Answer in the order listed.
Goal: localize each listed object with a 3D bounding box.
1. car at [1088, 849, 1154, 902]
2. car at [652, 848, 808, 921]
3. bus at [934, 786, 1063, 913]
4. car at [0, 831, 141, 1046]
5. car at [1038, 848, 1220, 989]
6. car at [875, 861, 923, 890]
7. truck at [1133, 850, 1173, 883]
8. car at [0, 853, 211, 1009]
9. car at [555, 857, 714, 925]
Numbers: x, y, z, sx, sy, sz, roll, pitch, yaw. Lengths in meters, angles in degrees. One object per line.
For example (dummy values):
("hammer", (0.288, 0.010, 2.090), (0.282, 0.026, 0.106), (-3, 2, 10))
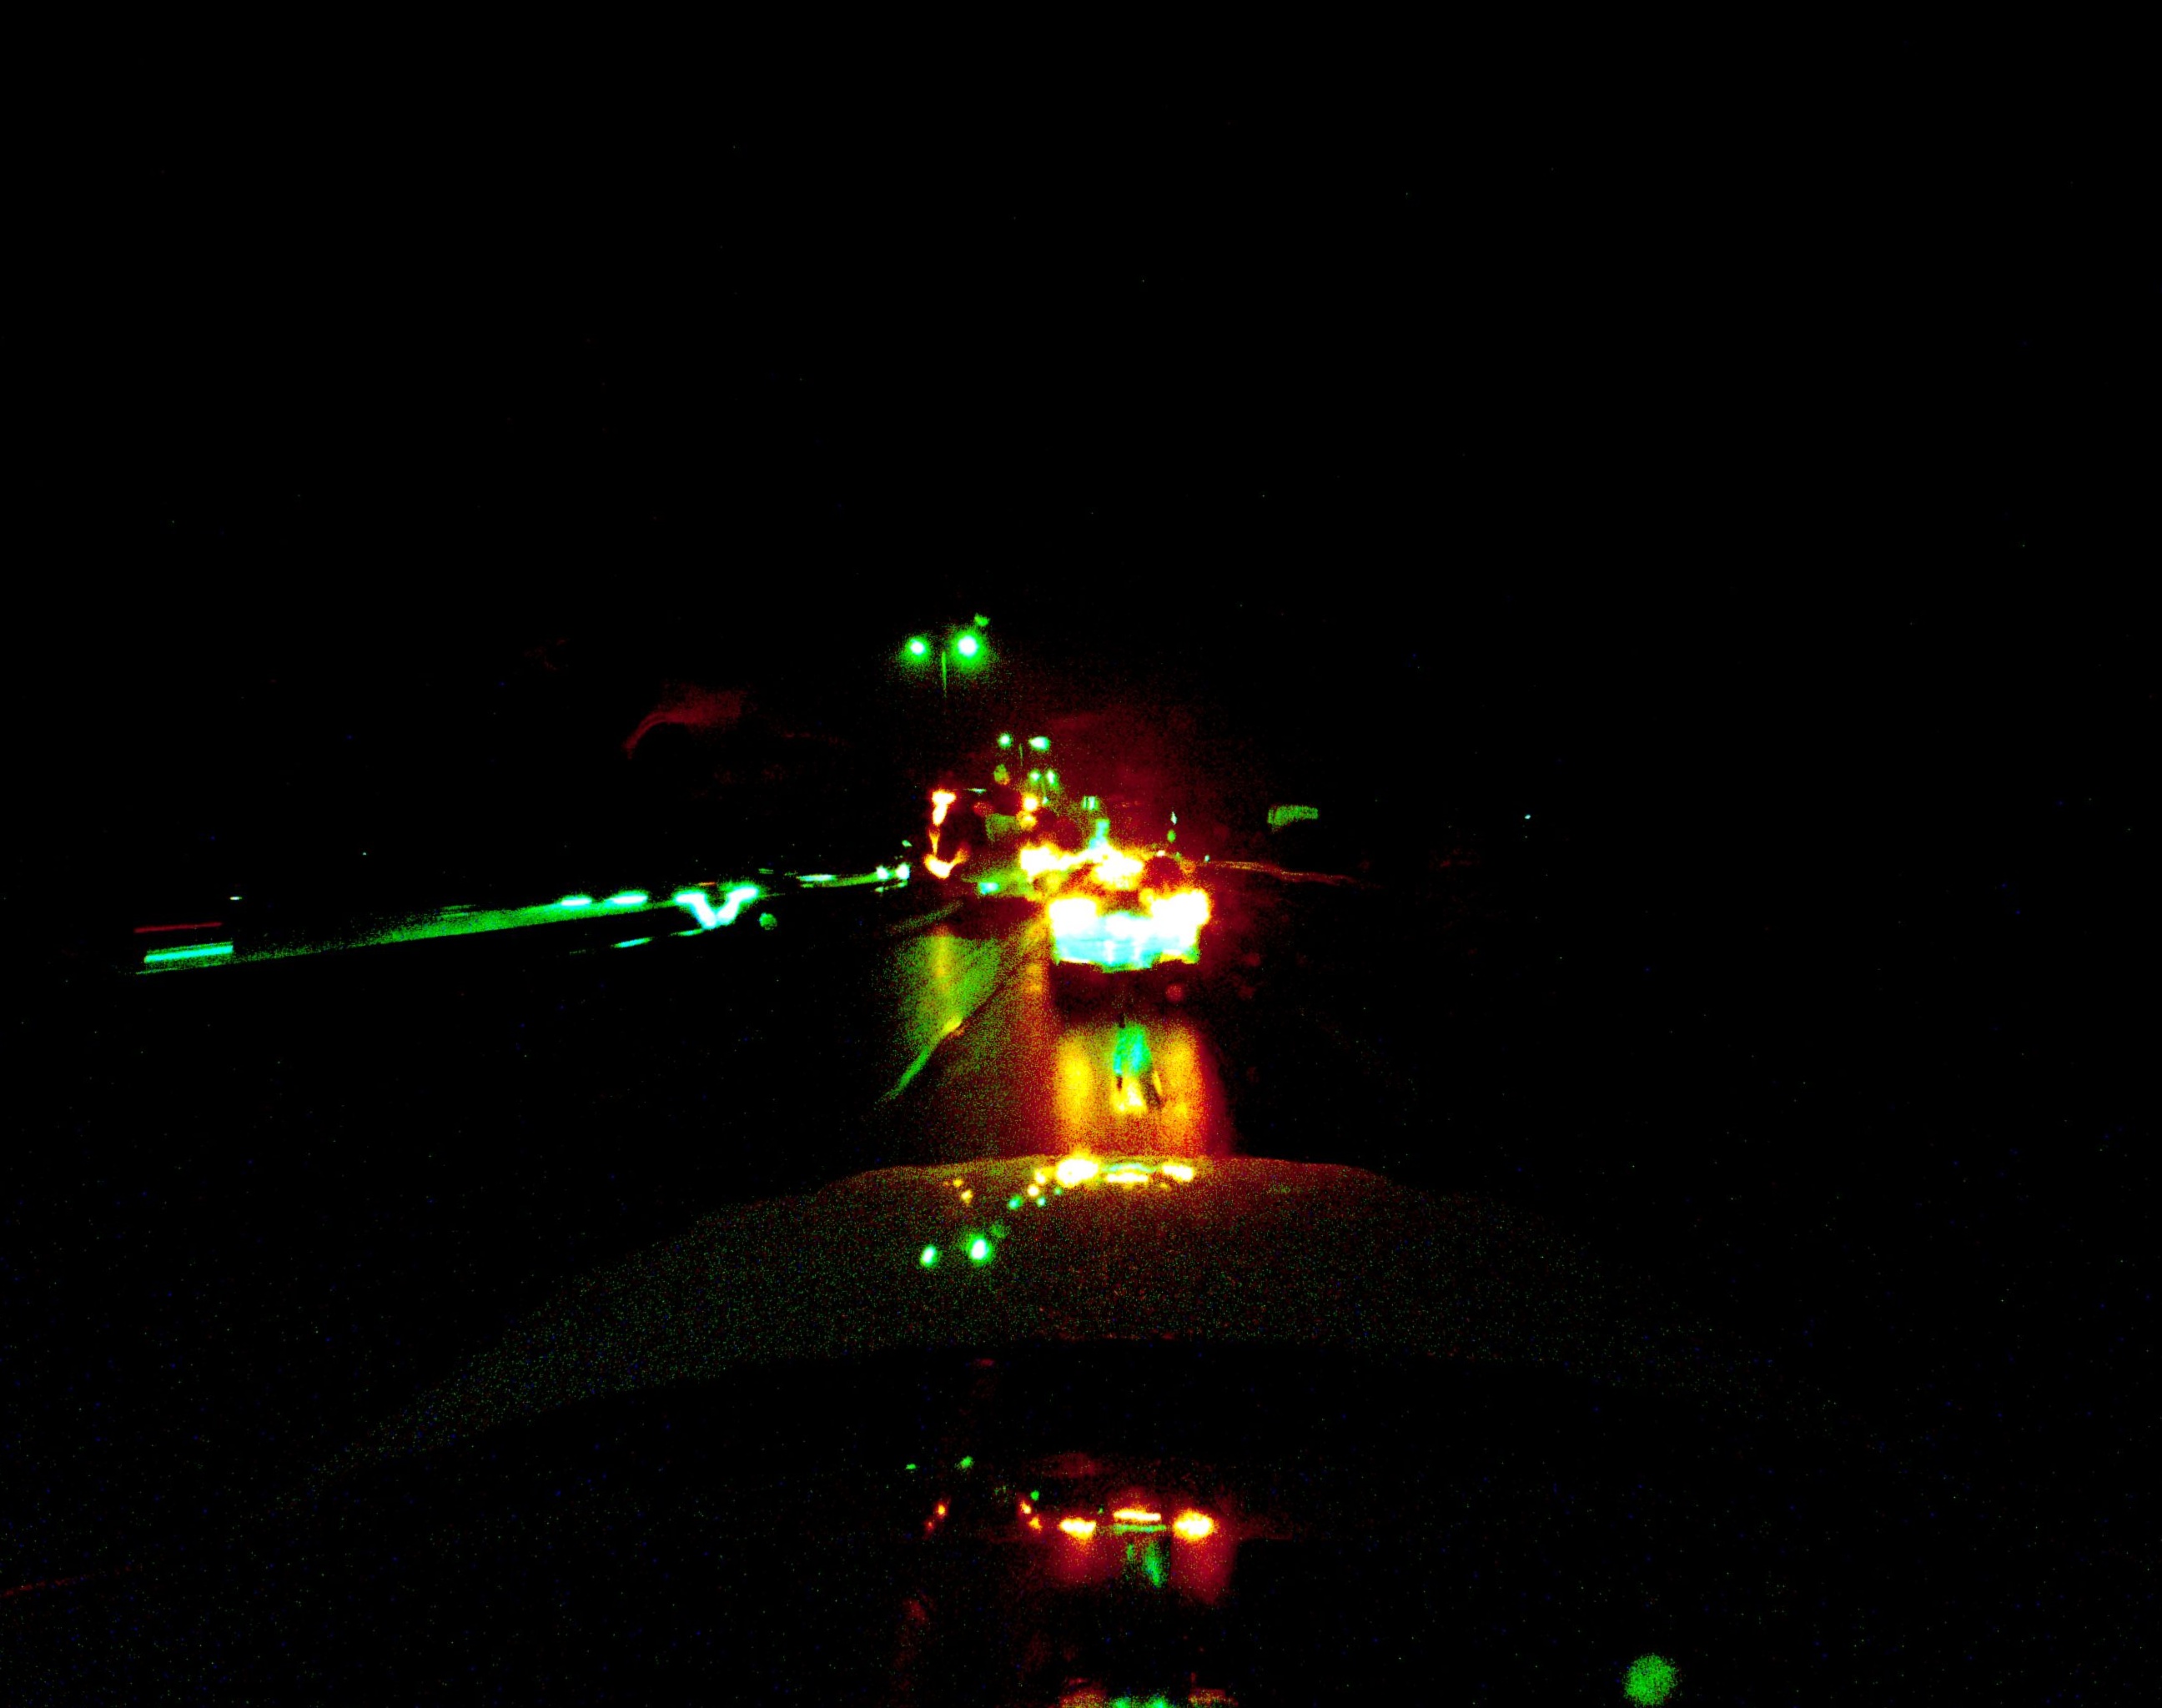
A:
("car", (1.187, 0.613, 24.534), (1.815, 1.461, 3.718), (-1, 0, 2))
("car", (-9.408, 0.780, 22.361), (2.157, 1.774, 4.705), (1, -1, 1))
("bus", (-2.149, -0.149, 24.828), (2.733, 3.123, 9.205), (1, 0, 2))
("car", (-9.927, 0.664, 5.329), (1.987, 1.774, 4.705), (1, -1, 1))
("car", (0.573, 0.704, 10.643), (1.937, 1.491, 3.717), (-1, 0, 2))
("car", (-11.825, 1.370, 53.136), (1.986, 1.809, 4.202), (1, -1, 2))
("truck", (5.975, 1.004, 67.041), (3.054, 2.528, 7.177), (0, -1, 6))
("car", (-13.327, 0.864, 9.126), (1.987, 1.774, 4.705), (1, -1, 1))
("car", (-12.850, 1.014, 23.858), (1.987, 1.774, 4.705), (1, -1, 1))
